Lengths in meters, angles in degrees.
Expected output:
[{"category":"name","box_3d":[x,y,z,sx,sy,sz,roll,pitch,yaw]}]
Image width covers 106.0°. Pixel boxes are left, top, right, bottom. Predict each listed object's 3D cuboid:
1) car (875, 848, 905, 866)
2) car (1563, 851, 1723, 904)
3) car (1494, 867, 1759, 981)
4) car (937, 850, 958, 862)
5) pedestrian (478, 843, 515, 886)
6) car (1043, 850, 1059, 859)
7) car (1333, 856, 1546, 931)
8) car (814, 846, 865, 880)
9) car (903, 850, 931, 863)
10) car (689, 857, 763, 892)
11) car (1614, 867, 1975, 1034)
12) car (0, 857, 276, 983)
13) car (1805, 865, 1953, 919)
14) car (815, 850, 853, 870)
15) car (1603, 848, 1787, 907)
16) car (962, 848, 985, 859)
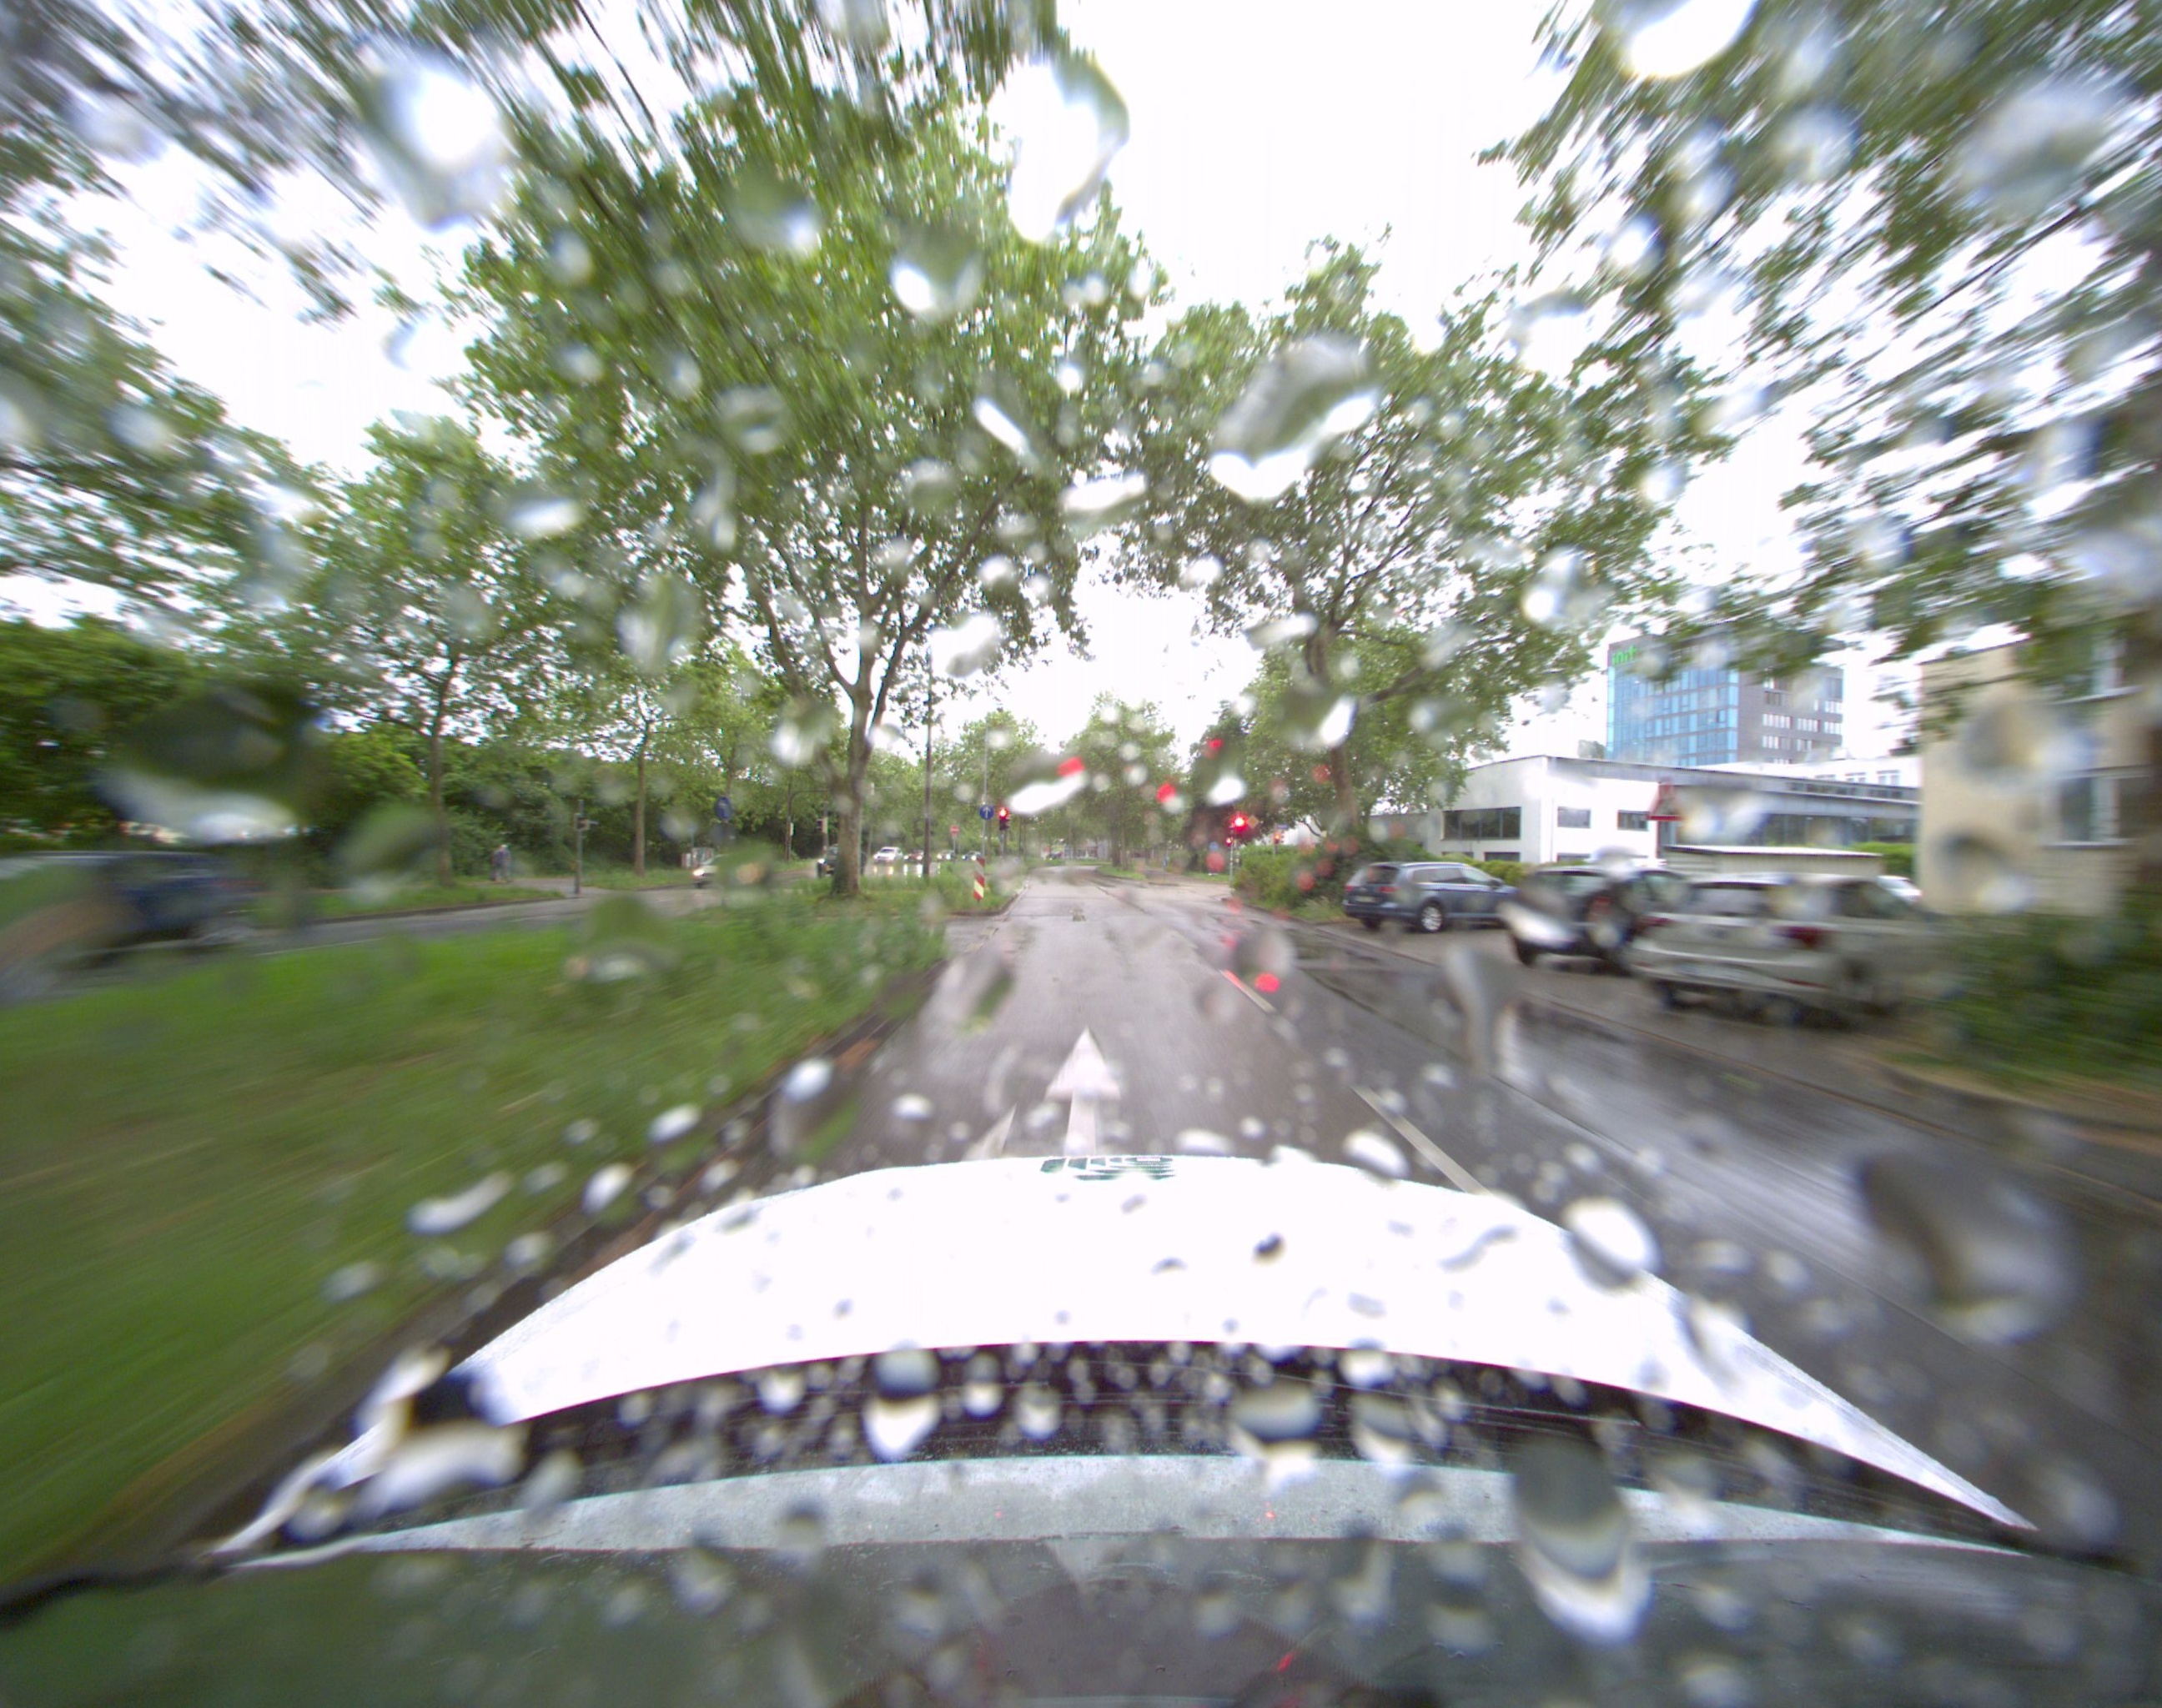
[{"category":"car","box_3d":[-17.701,0.250,75.749,1.738,1.631,4.443,1,0,-1]},{"category":"car","box_3d":[19.547,0.803,28.424,4.530,1.757,1.778,1,0,-5]},{"category":"car","box_3d":[8.086,0.922,12.038,3.701,1.416,1.733,1,0,-28]},{"category":"car","box_3d":[-15.835,0.180,96.521,1.579,1.373,3.340,1,0,6]},{"category":"pedestrian","box_3d":[-23.171,0.408,32.298,0.829,1.674,0.899,1,0,-3]},{"category":"car","box_3d":[-7.744,0.113,210.664,3.988,2.014,1.992,1,-2,-11]},{"category":"car","box_3d":[7.880,0.811,17.852,4.502,1.459,1.735,1,0,-25]},{"category":"car","box_3d":[-14.062,0.491,47.677,1.739,1.842,5.114,1,0,-3]},{"category":"car","box_3d":[-17.211,0.258,85.738,1.736,1.408,4.448,1,0,3]},{"category":"car","box_3d":[-16.185,0.892,37.368,1.740,1.476,4.229,1,0,-4]},{"category":"car","box_3d":[7.709,0.874,8.769,3.702,1.416,1.759,1,0,-28]},{"category":"car","box_3d":[-14.915,0.865,12.116,1.739,1.591,4.207,1,0,-2]},{"category":"car","box_3d":[29.171,1.338,29.949,1.739,1.757,3.761,1,0,-2]},{"category":"car","box_3d":[-18.762,0.437,61.953,1.739,1.476,4.230,1,0,-3]},{"category":"car","box_3d":[19.083,0.713,25.429,4.526,1.757,1.747,1,0,-3]},{"category":"car","box_3d":[-13.909,-0.063,105.685,1.576,1.373,4.277,1,0,13]}]
